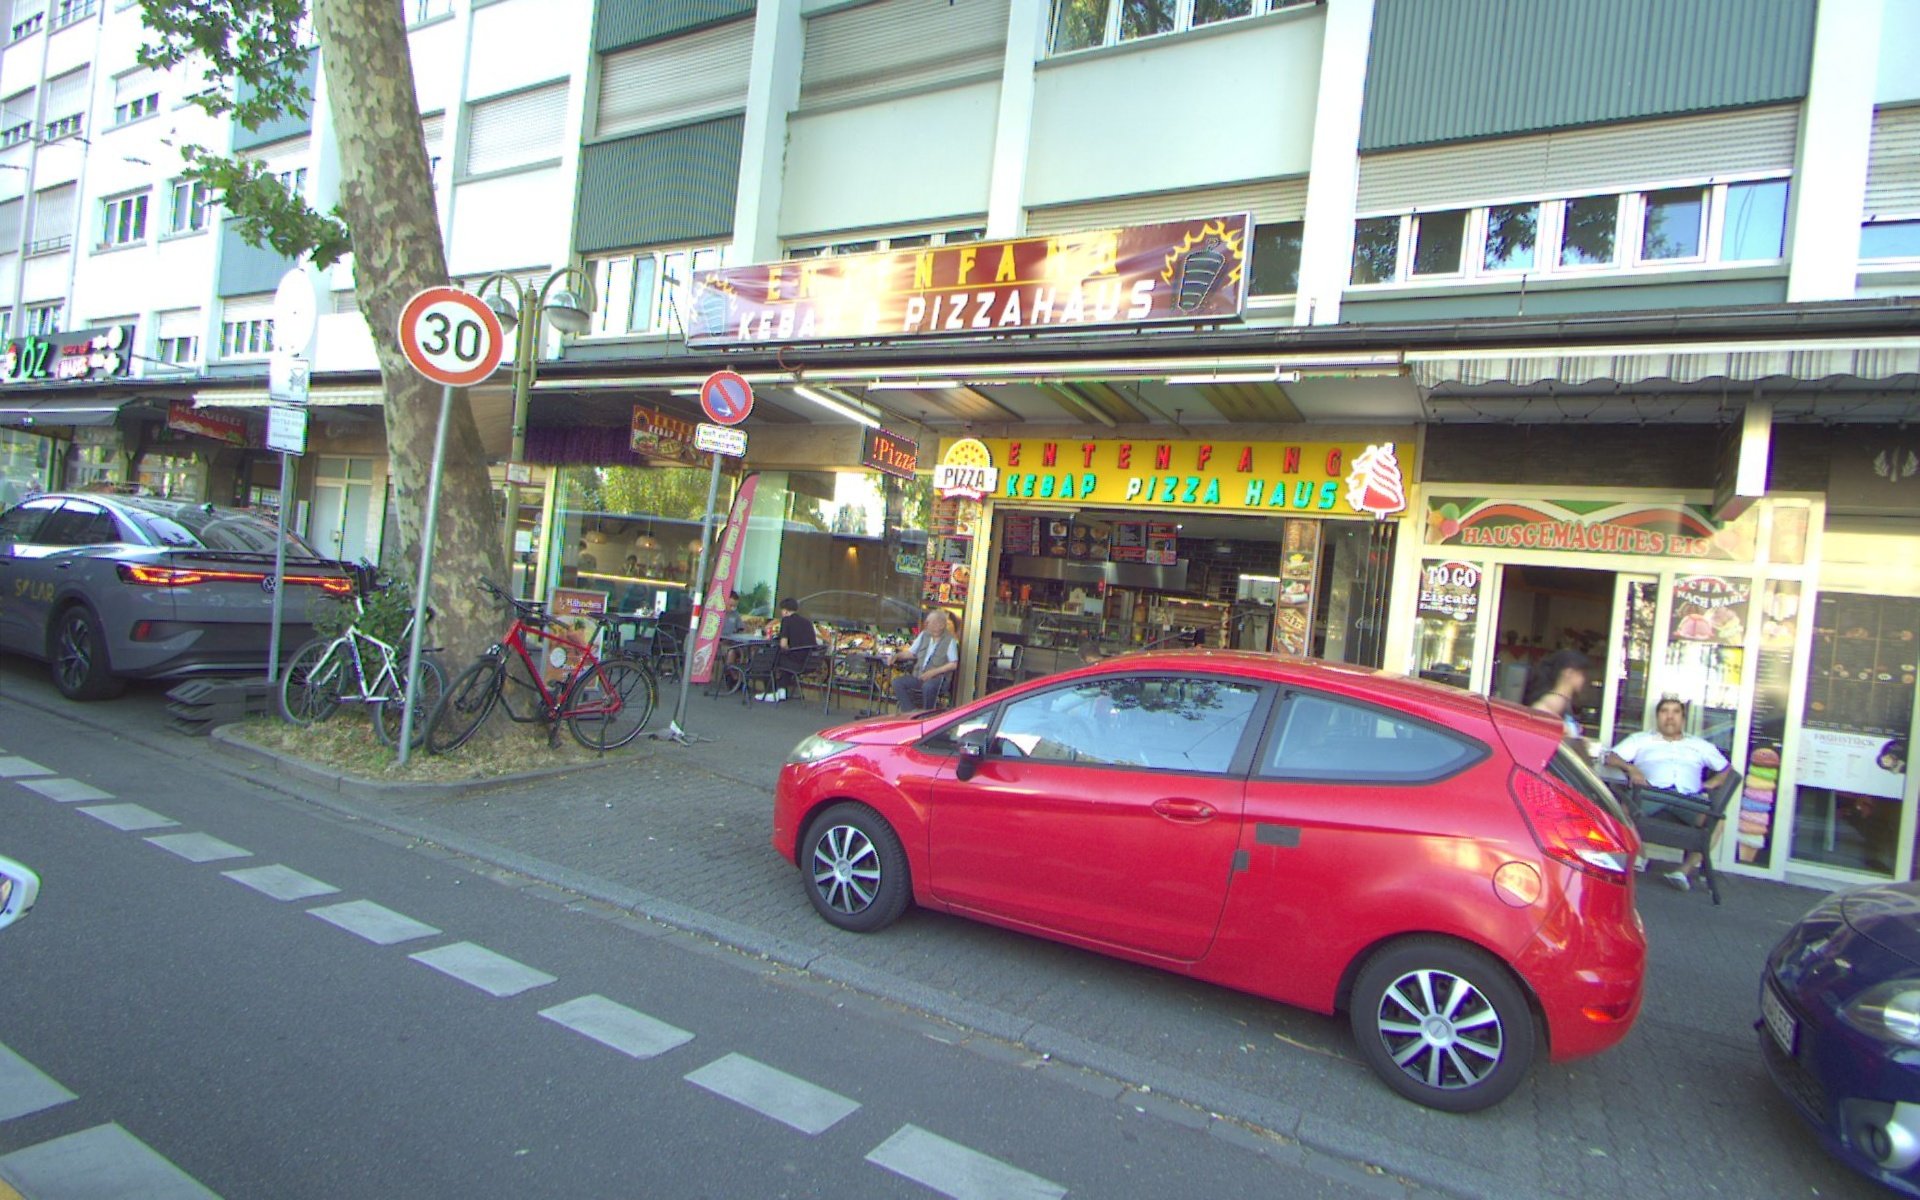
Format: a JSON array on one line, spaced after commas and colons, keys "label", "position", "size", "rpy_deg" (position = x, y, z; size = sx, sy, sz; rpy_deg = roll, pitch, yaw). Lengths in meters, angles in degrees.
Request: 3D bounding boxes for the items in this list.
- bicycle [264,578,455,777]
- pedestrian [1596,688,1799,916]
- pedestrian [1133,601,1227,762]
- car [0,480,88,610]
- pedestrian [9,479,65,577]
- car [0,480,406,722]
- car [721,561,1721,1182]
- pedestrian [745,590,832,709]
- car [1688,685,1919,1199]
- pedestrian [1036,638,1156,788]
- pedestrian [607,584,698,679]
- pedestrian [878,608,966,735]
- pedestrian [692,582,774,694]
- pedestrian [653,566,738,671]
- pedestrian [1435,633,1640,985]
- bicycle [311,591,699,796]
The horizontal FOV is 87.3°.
[{"label": "bicycle", "position": [-4.231, 0.506, 7.058], "size": [1.421, 1.169, 0.553], "rpy_deg": [6, 0, 36]}, {"label": "pedestrian", "position": [5.223, 1.371, 7.223], "size": [0.937, 1.352, 1.069], "rpy_deg": [7, 0, 30]}, {"label": "pedestrian", "position": [2.313, 0.846, 10.544], "size": [0.589, 1.566, 0.700], "rpy_deg": [7, 0, 34]}, {"label": "car", "position": [-14.026, -0.928, 13.512], "size": [4.292, 1.603, 1.996], "rpy_deg": [7, 2, 27]}, {"label": "pedestrian", "position": [-16.678, -1.298, 18.195], "size": [0.661, 1.688, 0.593], "rpy_deg": [4, 2, -42]}, {"label": "car", "position": [-7.349, -0.122, 9.067], "size": [4.292, 1.603, 1.996], "rpy_deg": [7, 2, 27]}, {"label": "car", "position": [0.971, 0.817, 4.728], "size": [3.757, 1.617, 1.782], "rpy_deg": [6, 3, 28]}, {"label": "pedestrian", "position": [-1.958, 0.556, 11.498], "size": [0.679, 1.261, 0.558], "rpy_deg": [7, 2, 33]}, {"label": "car", "position": [4.347, 1.257, 2.692], "size": [3.549, 1.488, 1.767], "rpy_deg": [6, 3, 29]}, {"label": "pedestrian", "position": [1.254, 1.010, 9.257], "size": [0.798, 1.225, 0.654], "rpy_deg": [7, 2, 28]}, {"label": "pedestrian", "position": [-3.975, 0.400, 13.058], "size": [0.940, 1.094, 0.639], "rpy_deg": [7, 0, -9]}, {"label": "pedestrian", "position": [-0.397, 0.748, 10.701], "size": [0.550, 1.252, 0.689], "rpy_deg": [7, 2, 29]}, {"label": "pedestrian", "position": [-2.740, 0.455, 12.130], "size": [0.680, 1.261, 0.557], "rpy_deg": [7, 2, 38]}, {"label": "pedestrian", "position": [-3.750, 0.255, 14.353], "size": [0.958, 1.350, 0.830], "rpy_deg": [6, 0, -9]}, {"label": "pedestrian", "position": [3.068, 1.051, 5.388], "size": [0.783, 1.667, 0.583], "rpy_deg": [5, 0, 30]}, {"label": "bicycle", "position": [-3.009, 0.559, 6.919], "size": [0.547, 1.171, 2.377], "rpy_deg": [7, 4, 44]}]
